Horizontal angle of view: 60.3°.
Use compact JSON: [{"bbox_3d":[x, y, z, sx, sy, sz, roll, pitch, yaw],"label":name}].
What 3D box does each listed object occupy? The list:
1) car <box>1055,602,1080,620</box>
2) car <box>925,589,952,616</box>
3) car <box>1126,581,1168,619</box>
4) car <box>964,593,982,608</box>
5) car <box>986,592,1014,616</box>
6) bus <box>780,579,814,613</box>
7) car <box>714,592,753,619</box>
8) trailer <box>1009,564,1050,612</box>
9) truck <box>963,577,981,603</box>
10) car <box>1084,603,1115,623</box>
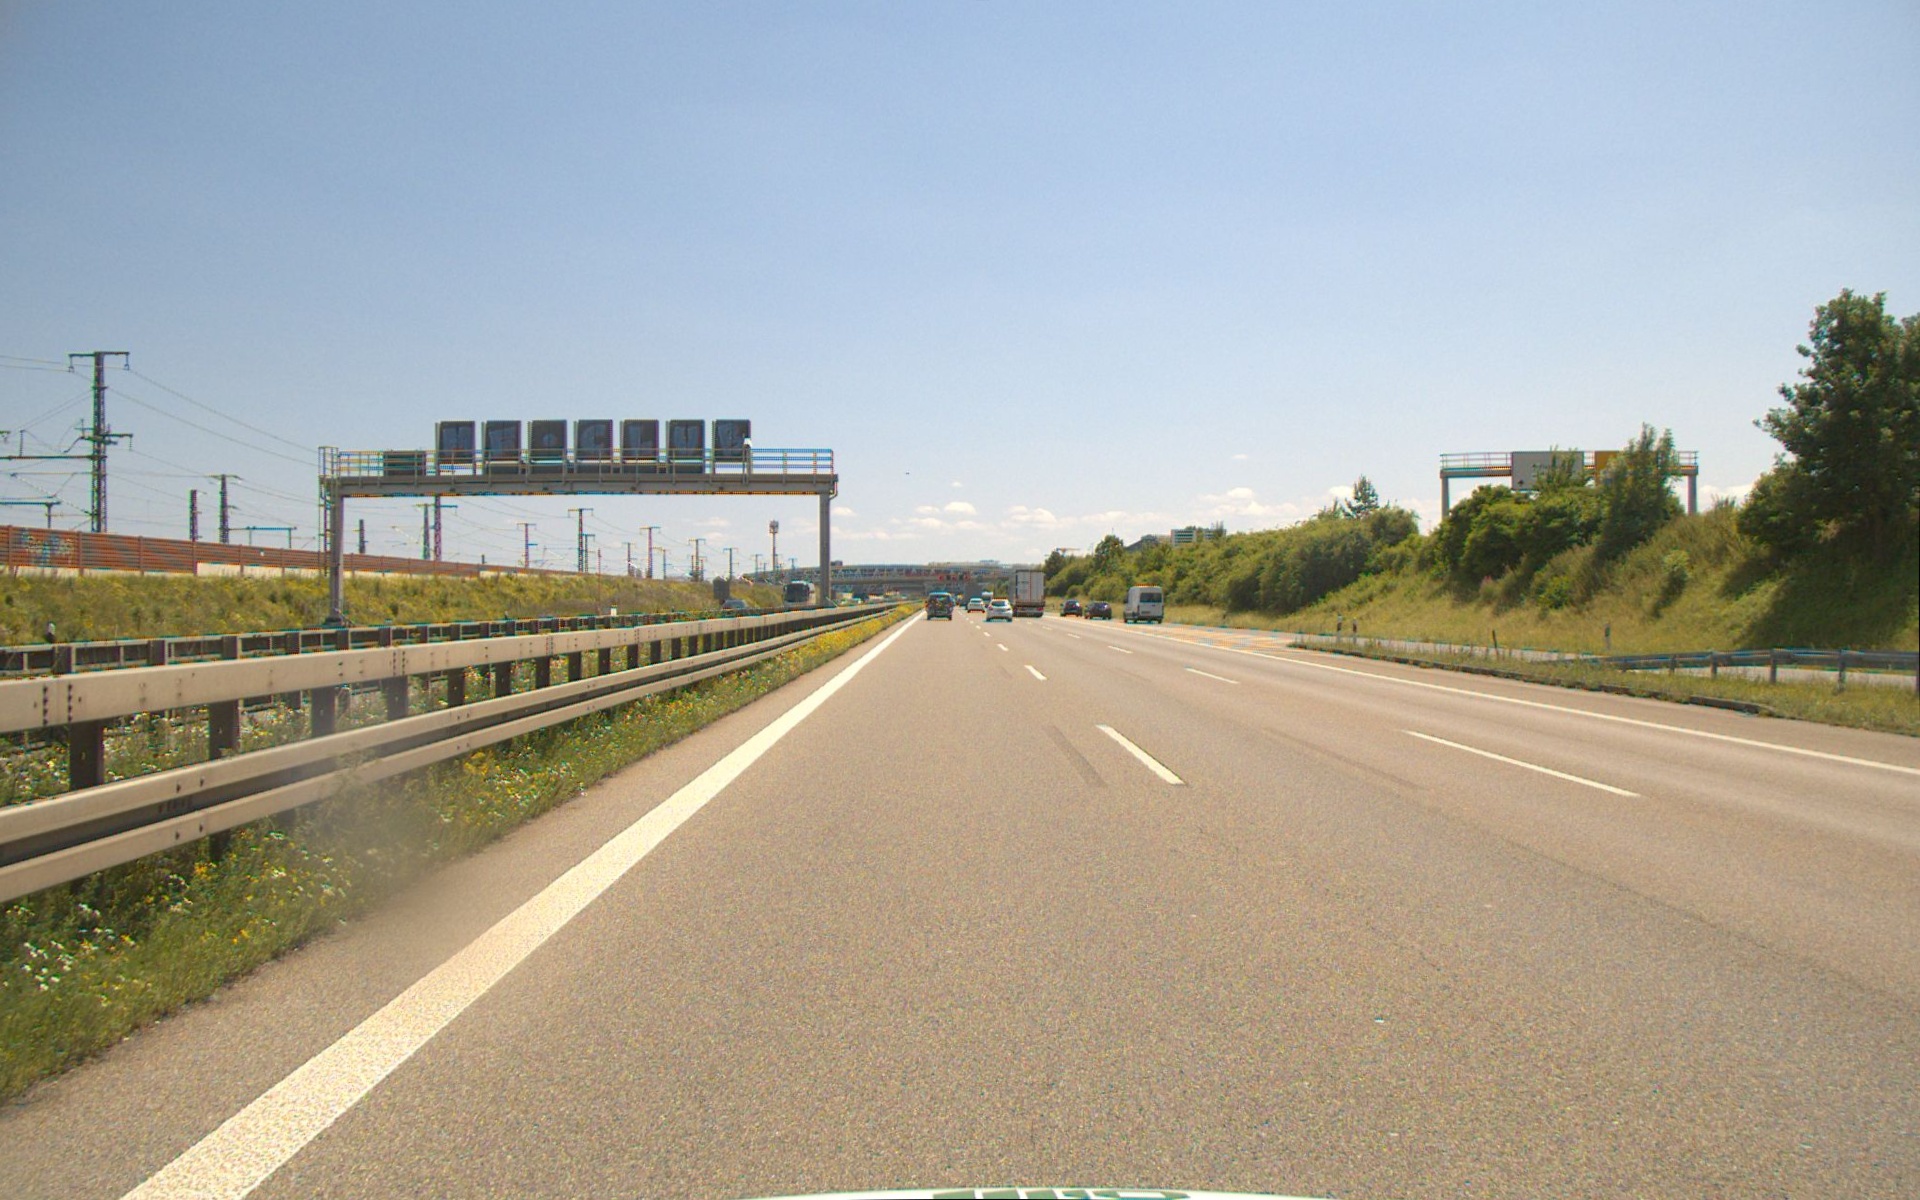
[{"bbox_3d":[10.140,1.035,156.039,1.953,1.624,3.998,2,-1,-1],"label":"car"},{"bbox_3d":[-1.478,0.169,114.379,1.842,1.806,3.999,0,-1,-1],"label":"car"},{"bbox_3d":[13.215,0.009,117.332,2.228,2.572,5.397,1,0,-2],"label":"car"},{"bbox_3d":[1.429,0.055,178.732,1.842,1.553,4.000,1,-1,0],"label":"car"},{"bbox_3d":[2.713,0.307,111.624,1.841,1.553,4.001,1,-1,2],"label":"car"},{"bbox_3d":[-18.252,-0.462,186.184,2.799,3.709,10.939,2,0,-1],"label":"bus"},{"bbox_3d":[-13.502,0.314,98.584,1.767,1.601,4.000,1,0,0],"label":"car"},{"bbox_3d":[6.099,-1.045,146.381,3.112,4.130,9.438,0,0,0],"label":"trailer"},{"bbox_3d":[1.598,-1.334,221.464,2.307,3.476,6.056,1,0,0],"label":"truck"},{"bbox_3d":[11.441,1.080,135.967,1.954,1.534,3.997,2,-1,-3],"label":"car"}]
